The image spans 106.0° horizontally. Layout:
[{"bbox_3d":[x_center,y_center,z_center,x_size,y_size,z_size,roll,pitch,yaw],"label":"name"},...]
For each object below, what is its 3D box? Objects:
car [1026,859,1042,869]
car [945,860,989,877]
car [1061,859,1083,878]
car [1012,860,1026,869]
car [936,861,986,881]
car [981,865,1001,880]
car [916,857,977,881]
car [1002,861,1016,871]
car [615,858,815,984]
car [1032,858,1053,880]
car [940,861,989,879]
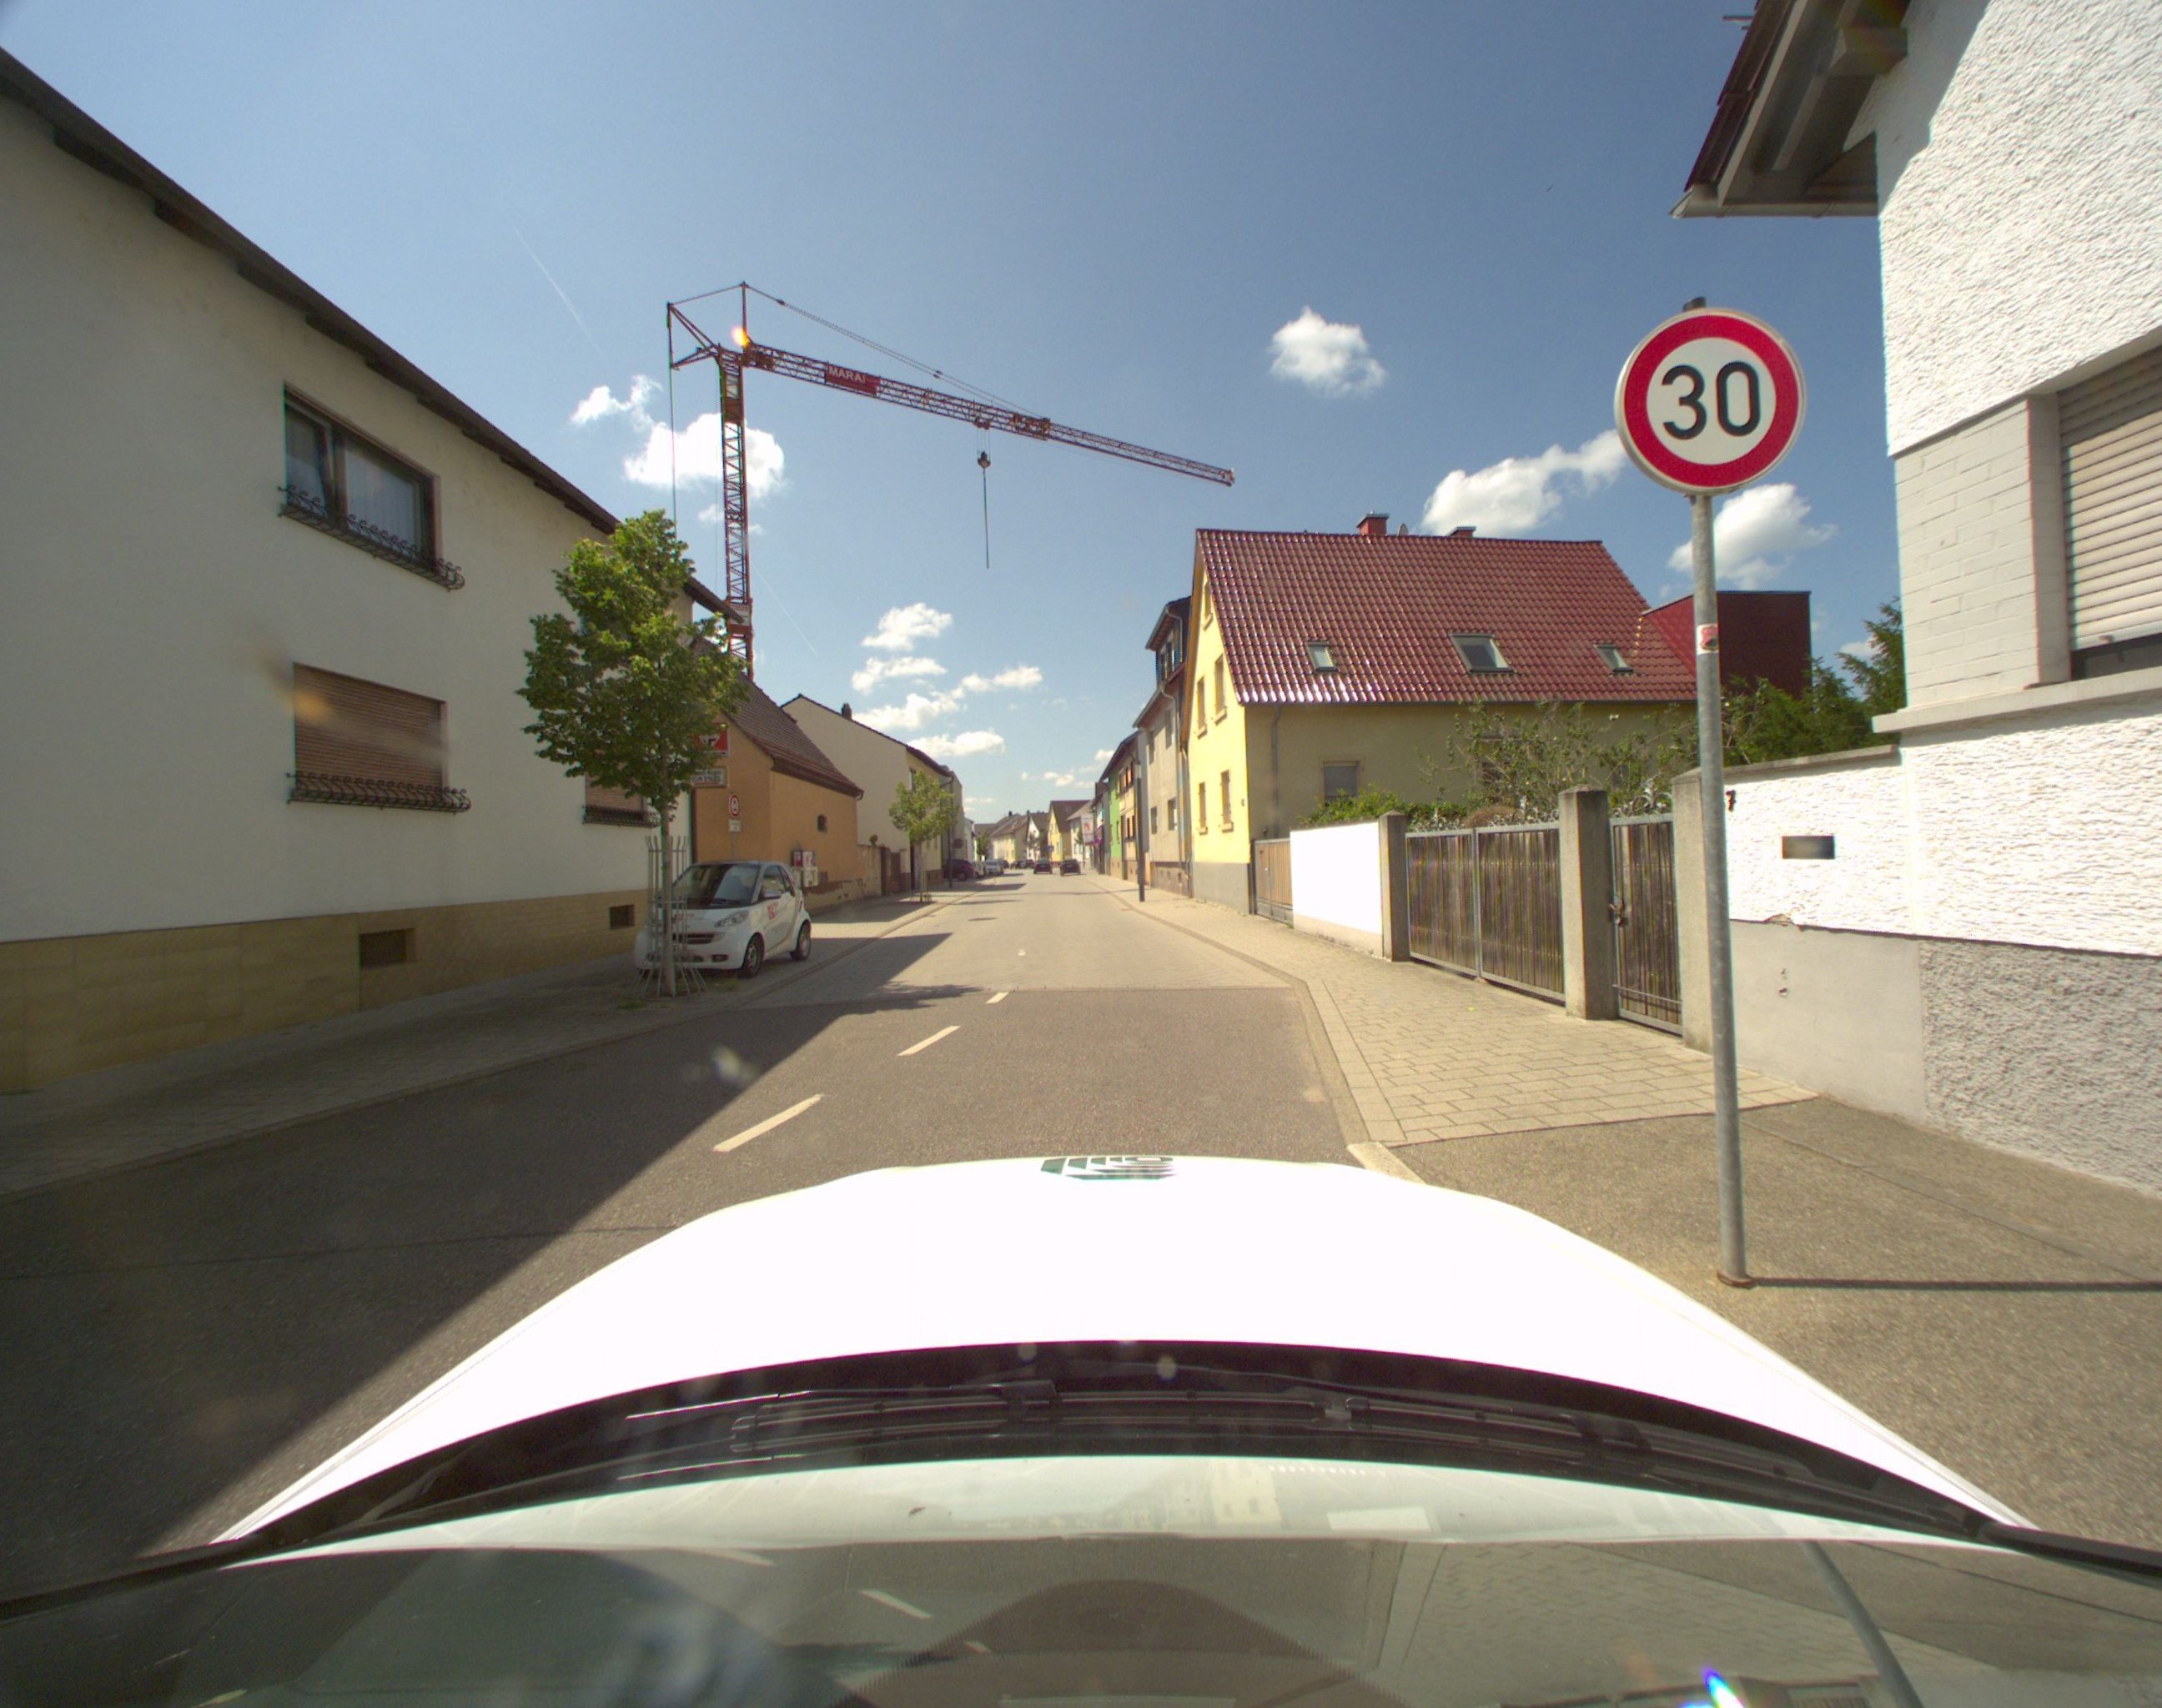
[{"bbox_3d":[-7.495,1.569,128.665,1.849,1.562,3.675,-2,0,-14],"label":"car"},{"bbox_3d":[-10.177,1.291,72.778,3.682,1.525,1.671,0,0,-2],"label":"car"},{"bbox_3d":[-0.793,1.259,72.174,1.852,1.459,4.584,-4,0,0],"label":"car"},{"bbox_3d":[-10.329,1.803,135.998,1.713,1.387,3.688,-2,0,-14],"label":"car"},{"bbox_3d":[-9.934,1.401,67.542,3.889,1.502,1.750,1,0,-1],"label":"car"},{"bbox_3d":[-8.918,1.805,80.985,1.753,1.411,3.874,0,0,-2],"label":"car"},{"bbox_3d":[-9.803,1.088,59.711,4.209,1.658,1.782,0,0,-3],"label":"car"},{"bbox_3d":[-13.227,2.202,149.419,1.880,1.591,3.981,-2,0,-14],"label":"car"},{"bbox_3d":[-5.044,0.850,11.615,1.567,1.561,2.821,0,0,-1],"label":"car"},{"bbox_3d":[-3.843,1.452,81.275,1.989,2.058,4.369,-2,0,-3],"label":"car"},{"bbox_3d":[-9.987,1.395,69.875,3.977,1.442,1.689,1,-1,-3],"label":"car"}]
